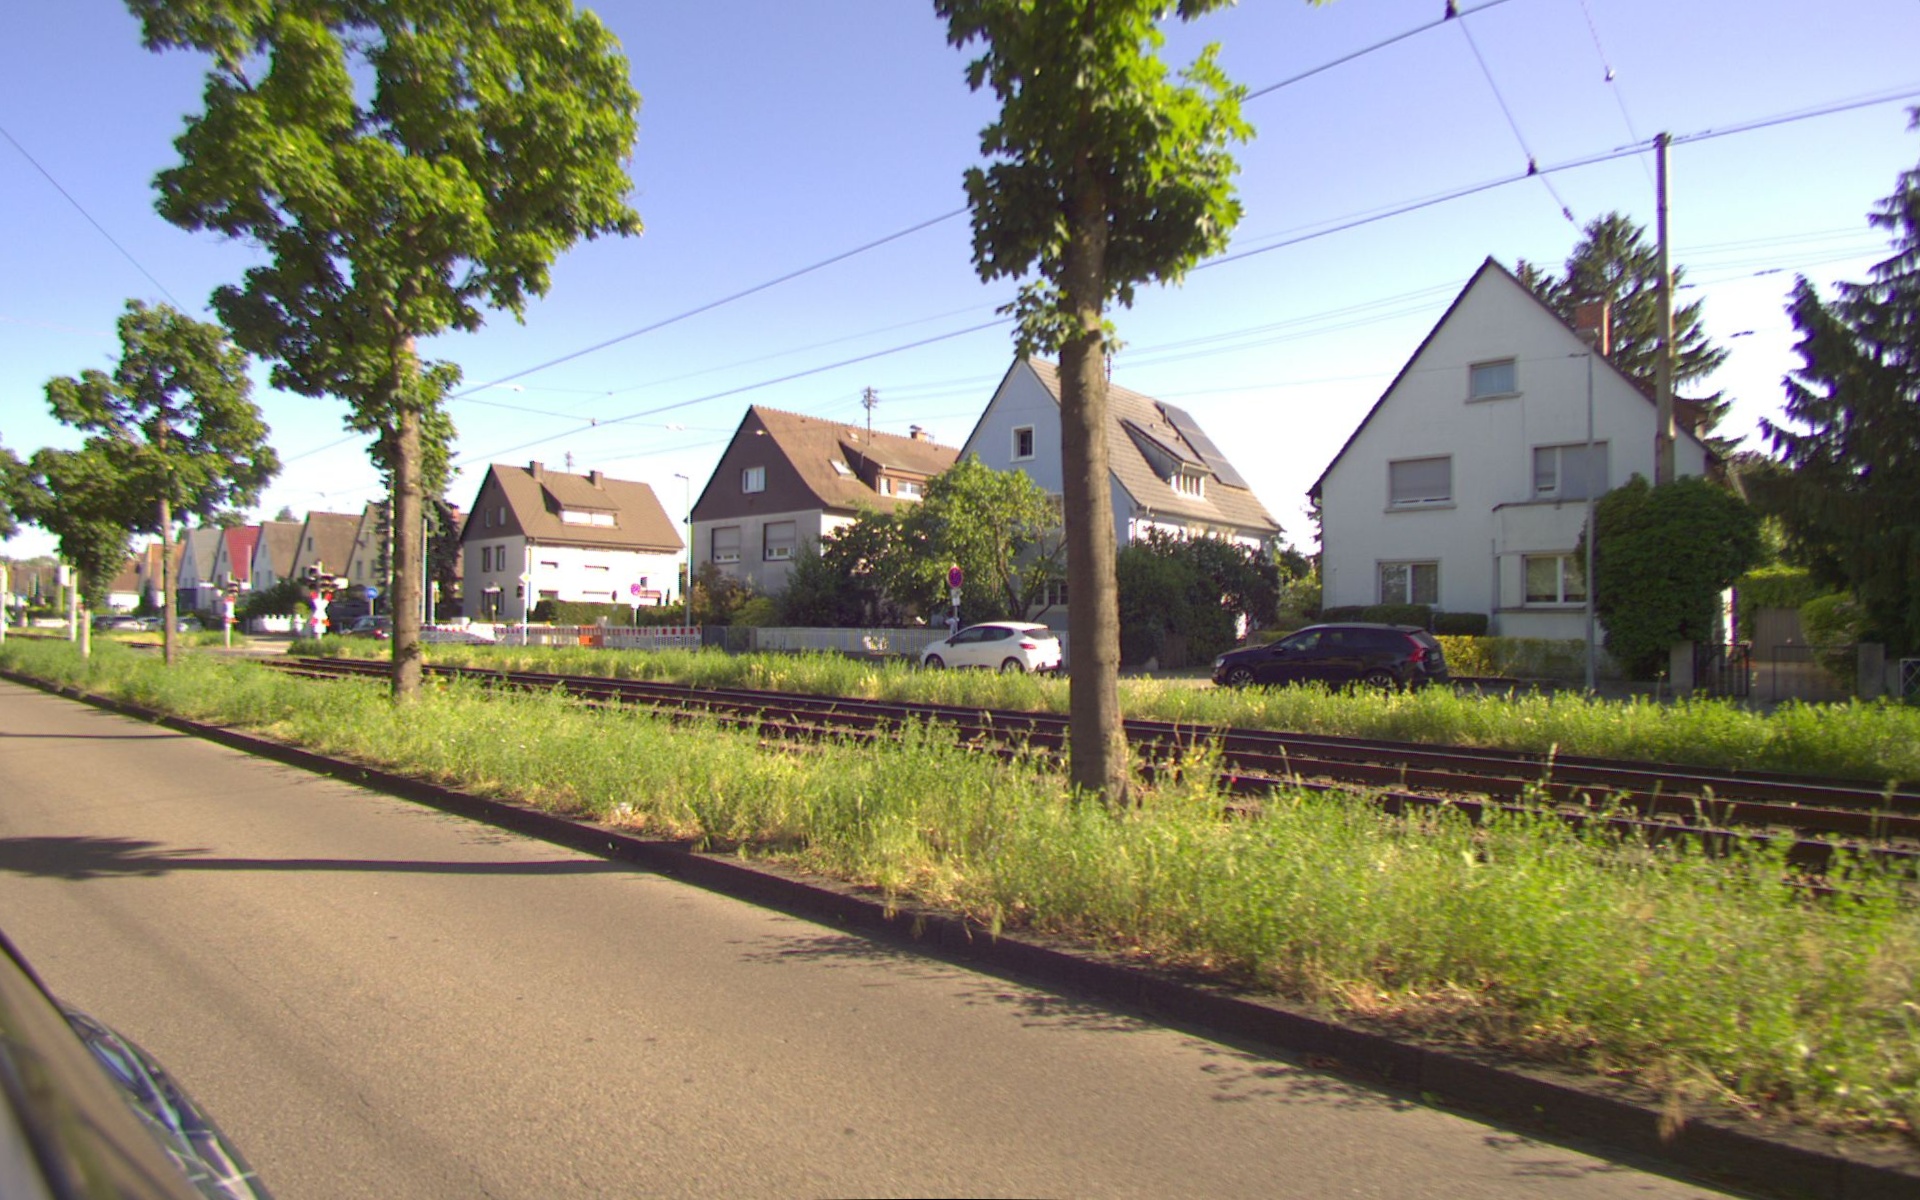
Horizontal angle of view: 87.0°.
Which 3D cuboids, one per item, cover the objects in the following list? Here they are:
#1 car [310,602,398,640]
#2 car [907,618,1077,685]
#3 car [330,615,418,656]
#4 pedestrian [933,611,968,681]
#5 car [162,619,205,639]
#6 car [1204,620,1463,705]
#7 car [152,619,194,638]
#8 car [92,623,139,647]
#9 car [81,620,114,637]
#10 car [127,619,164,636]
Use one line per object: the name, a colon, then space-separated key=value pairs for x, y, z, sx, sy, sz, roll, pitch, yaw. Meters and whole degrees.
car: x=-43.036 y=1.510 z=71.977 sx=2.101 sy=2.645 sz=4.977 roll=-2 pitch=-2 yaw=40
car: x=0.786 y=1.277 z=26.416 sx=4.225 sy=1.553 sz=1.841 roll=-1 pitch=0 yaw=41
car: x=-24.021 y=1.418 z=41.426 sx=4.807 sy=1.564 sz=1.643 roll=-1 pitch=0 yaw=41
pedestrian: x=-0.287 y=1.344 z=30.025 sx=0.772 sy=2.029 sz=0.674 roll=-1 pitch=0 yaw=40
car: x=-62.445 y=2.315 z=81.372 sx=4.054 sy=1.565 sz=1.927 roll=-1 pitch=0 yaw=41
car: x=7.422 y=1.170 z=20.402 sx=4.599 sy=1.477 sz=1.711 roll=-1 pitch=0 yaw=41
car: x=-65.962 y=2.343 z=84.797 sx=4.125 sy=1.460 sz=1.973 roll=-1 pitch=2 yaw=41
car: x=-62.542 y=2.557 z=74.942 sx=4.470 sy=1.616 sz=1.973 roll=-1 pitch=0 yaw=41
car: x=-89.906 y=2.944 z=105.465 sx=4.388 sy=1.726 sz=1.973 roll=-1 pitch=0 yaw=41
car: x=-72.928 y=2.451 z=90.588 sx=4.410 sy=1.437 sz=1.972 roll=-1 pitch=0 yaw=43
